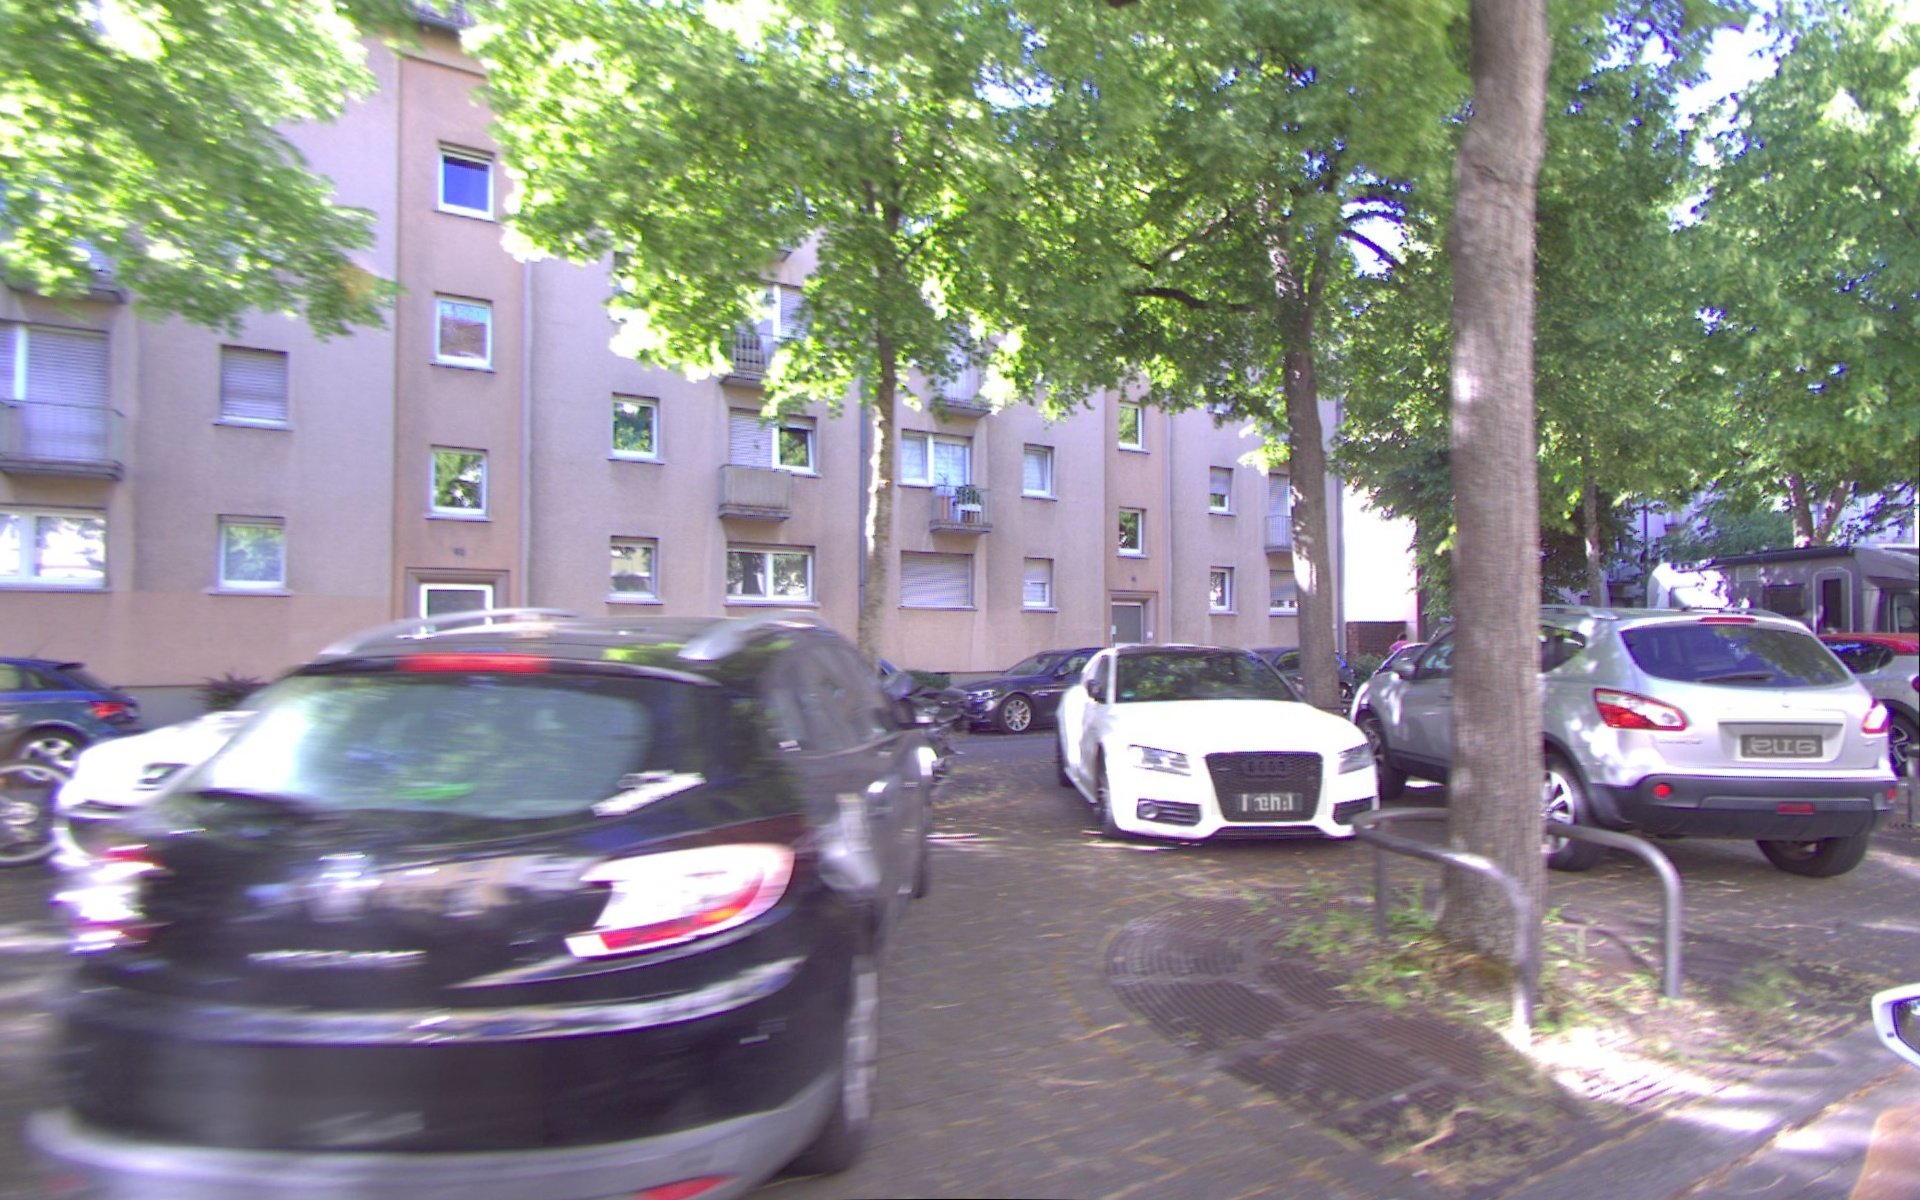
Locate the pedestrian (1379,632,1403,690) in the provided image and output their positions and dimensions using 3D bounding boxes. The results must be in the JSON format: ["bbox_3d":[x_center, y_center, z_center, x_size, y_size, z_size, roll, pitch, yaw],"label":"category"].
[{"bbox_3d":[13.741,1.939,32.034,0.457,1.850,0.497,1,-2,-30],"label":"pedestrian"}]

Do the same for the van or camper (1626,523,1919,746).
[{"bbox_3d":[13.798,0.527,15.257,2.269,2.968,7.248,0,-2,-3],"label":"van or camper"}]

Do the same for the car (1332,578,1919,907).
[{"bbox_3d":[4.355,0.801,7.298,1.725,1.701,4.147,0,-2,-1],"label":"car"}]

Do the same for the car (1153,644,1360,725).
[{"bbox_3d":[6.254,1.697,21.062,4.258,1.528,1.755,1,-2,-30],"label":"car"}]

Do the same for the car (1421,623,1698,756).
[{"bbox_3d":[7.706,1.089,13.336,1.722,1.527,3.546,0,-2,4],"label":"car"}]

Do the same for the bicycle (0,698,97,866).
[{"bbox_3d":[-6.243,1.101,5.890,1.750,0.953,0.433,1,0,-36],"label":"bicycle"}]

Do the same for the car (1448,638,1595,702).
[{"bbox_3d":[14.392,1.734,25.719,3.725,1.519,1.656,1,-2,-30],"label":"car"}]

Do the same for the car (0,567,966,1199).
[{"bbox_3d":[-0.919,0.759,3.961,1.682,1.481,4.426,1,-2,3],"label":"car"}]

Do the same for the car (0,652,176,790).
[{"bbox_3d":[-11.117,1.279,10.814,3.953,1.405,1.883,1,-3,-30],"label":"car"}]

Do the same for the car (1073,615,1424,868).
[{"bbox_3d":[1.944,0.874,8.025,1.787,1.421,4.044,1,0,3],"label":"car"}]

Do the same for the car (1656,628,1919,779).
[{"bbox_3d":[10.554,1.116,11.930,1.723,1.527,4.000,0,-2,-1],"label":"car"}]

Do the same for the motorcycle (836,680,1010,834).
[{"bbox_3d":[-0.229,1.177,8.016,0.676,0.969,1.919,0,-2,21],"label":"motorcycle"}]

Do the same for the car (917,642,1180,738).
[{"bbox_3d":[1.642,1.547,18.308,4.480,1.528,1.984,1,-2,-30],"label":"car"}]

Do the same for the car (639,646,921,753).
[{"bbox_3d":[-2.784,1.456,15.713,3.953,1.436,1.883,1,-2,-30],"label":"car"}]

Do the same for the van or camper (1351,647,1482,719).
[{"bbox_3d":[10.808,1.924,23.806,2.666,1.575,1.589,1,-2,-30],"label":"van or camper"}]

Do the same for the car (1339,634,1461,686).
[{"bbox_3d":[13.392,1.789,30.533,3.569,1.501,1.617,1,-2,-30],"label":"car"}]

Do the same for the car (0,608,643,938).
[{"bbox_3d":[-3.690,0.835,6.446,1.781,1.474,3.636,0,-2,7],"label":"car"}]

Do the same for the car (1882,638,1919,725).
[{"bbox_3d":[16.806,1.317,15.175,1.643,1.443,4.328,0,-2,-3],"label":"car"}]
